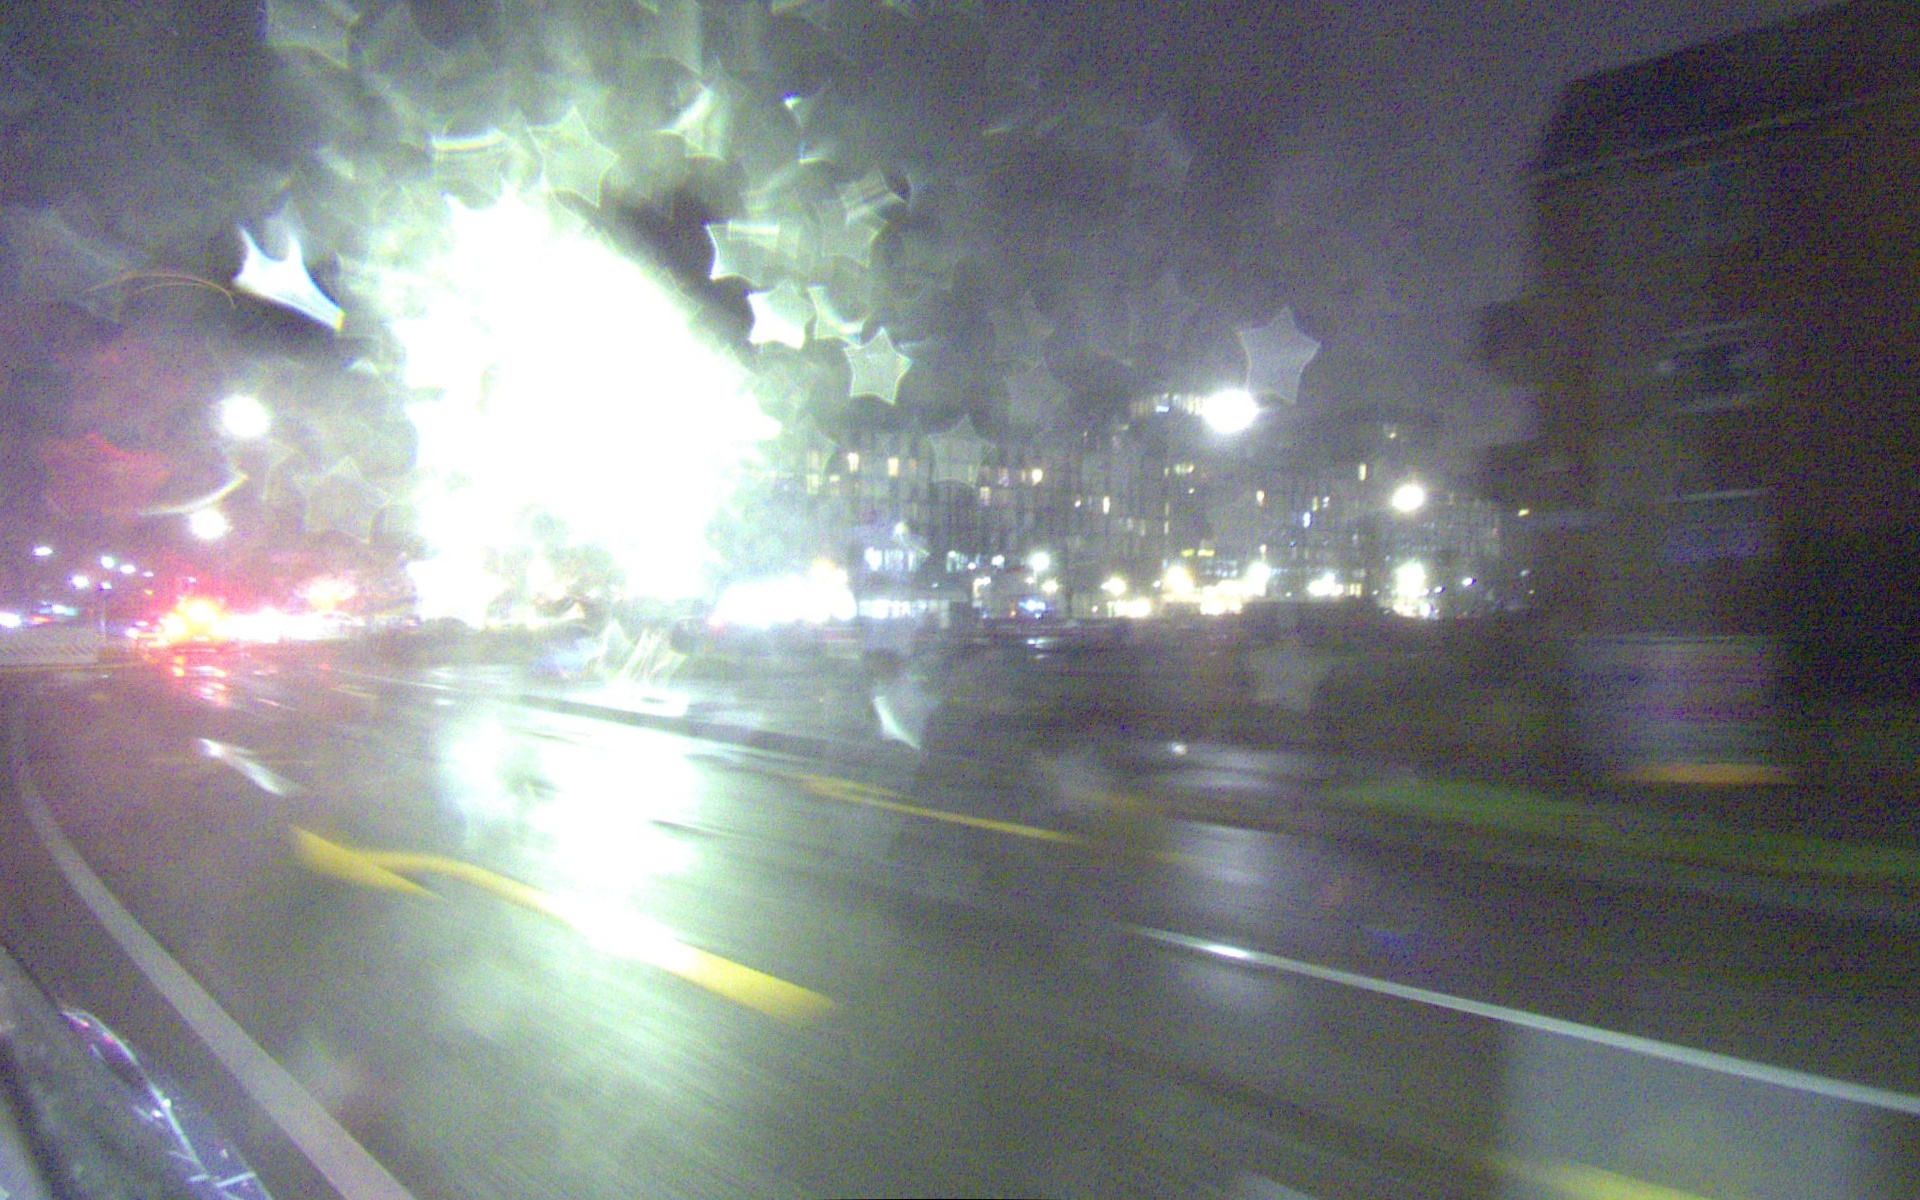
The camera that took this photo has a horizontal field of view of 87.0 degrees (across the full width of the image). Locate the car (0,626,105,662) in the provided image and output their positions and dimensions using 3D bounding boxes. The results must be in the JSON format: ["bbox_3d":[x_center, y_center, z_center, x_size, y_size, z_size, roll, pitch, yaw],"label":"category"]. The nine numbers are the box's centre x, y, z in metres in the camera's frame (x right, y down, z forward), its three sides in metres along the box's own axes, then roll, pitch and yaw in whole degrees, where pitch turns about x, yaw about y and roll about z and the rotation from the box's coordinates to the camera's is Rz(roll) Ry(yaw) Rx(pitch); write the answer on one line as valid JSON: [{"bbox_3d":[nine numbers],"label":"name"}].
[{"bbox_3d":[-43.212,2.002,46.901,1.993,1.594,5.144,-1,-1,31],"label":"car"}]

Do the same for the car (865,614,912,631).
[{"bbox_3d":[-7.247,2.320,102.416,4.354,1.634,2.006,1,-2,-25],"label":"car"}]

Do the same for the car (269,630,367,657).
[{"bbox_3d":[-36.885,2.470,58.285,1.638,1.477,4.600,-1,-1,25],"label":"car"}]

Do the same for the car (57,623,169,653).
[{"bbox_3d":[-44.771,1.981,53.603,1.984,1.545,4.160,0,-1,18],"label":"car"}]

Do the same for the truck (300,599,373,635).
[{"bbox_3d":[-43.955,1.226,71.582,2.283,2.415,7.835,1,-2,-16],"label":"truck"}]

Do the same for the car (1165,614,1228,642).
[{"bbox_3d":[17.255,2.051,74.049,2.293,1.749,4.328,3,0,-22],"label":"car"}]

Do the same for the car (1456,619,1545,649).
[{"bbox_3d":[33.337,2.060,62.513,1.967,1.634,4.443,2,0,-35],"label":"car"}]

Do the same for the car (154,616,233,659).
[{"bbox_3d":[-29.453,1.402,38.838,1.969,1.466,4.308,6,-5,-41],"label":"car"}]

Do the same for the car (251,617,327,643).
[{"bbox_3d":[-42.213,1.874,63.816,1.972,1.545,4.184,1,-2,0],"label":"car"}]

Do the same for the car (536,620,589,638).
[{"bbox_3d":[-35.978,2.620,91.636,4.351,1.545,2.007,1,-2,-25],"label":"car"}]

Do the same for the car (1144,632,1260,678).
[{"bbox_3d":[7.522,1.681,31.805,1.510,1.345,3.833,1,-1,-25],"label":"car"}]

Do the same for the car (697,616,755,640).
[{"bbox_3d":[-17.523,2.094,75.746,3.931,1.788,2.006,0,-1,-21],"label":"car"}]
